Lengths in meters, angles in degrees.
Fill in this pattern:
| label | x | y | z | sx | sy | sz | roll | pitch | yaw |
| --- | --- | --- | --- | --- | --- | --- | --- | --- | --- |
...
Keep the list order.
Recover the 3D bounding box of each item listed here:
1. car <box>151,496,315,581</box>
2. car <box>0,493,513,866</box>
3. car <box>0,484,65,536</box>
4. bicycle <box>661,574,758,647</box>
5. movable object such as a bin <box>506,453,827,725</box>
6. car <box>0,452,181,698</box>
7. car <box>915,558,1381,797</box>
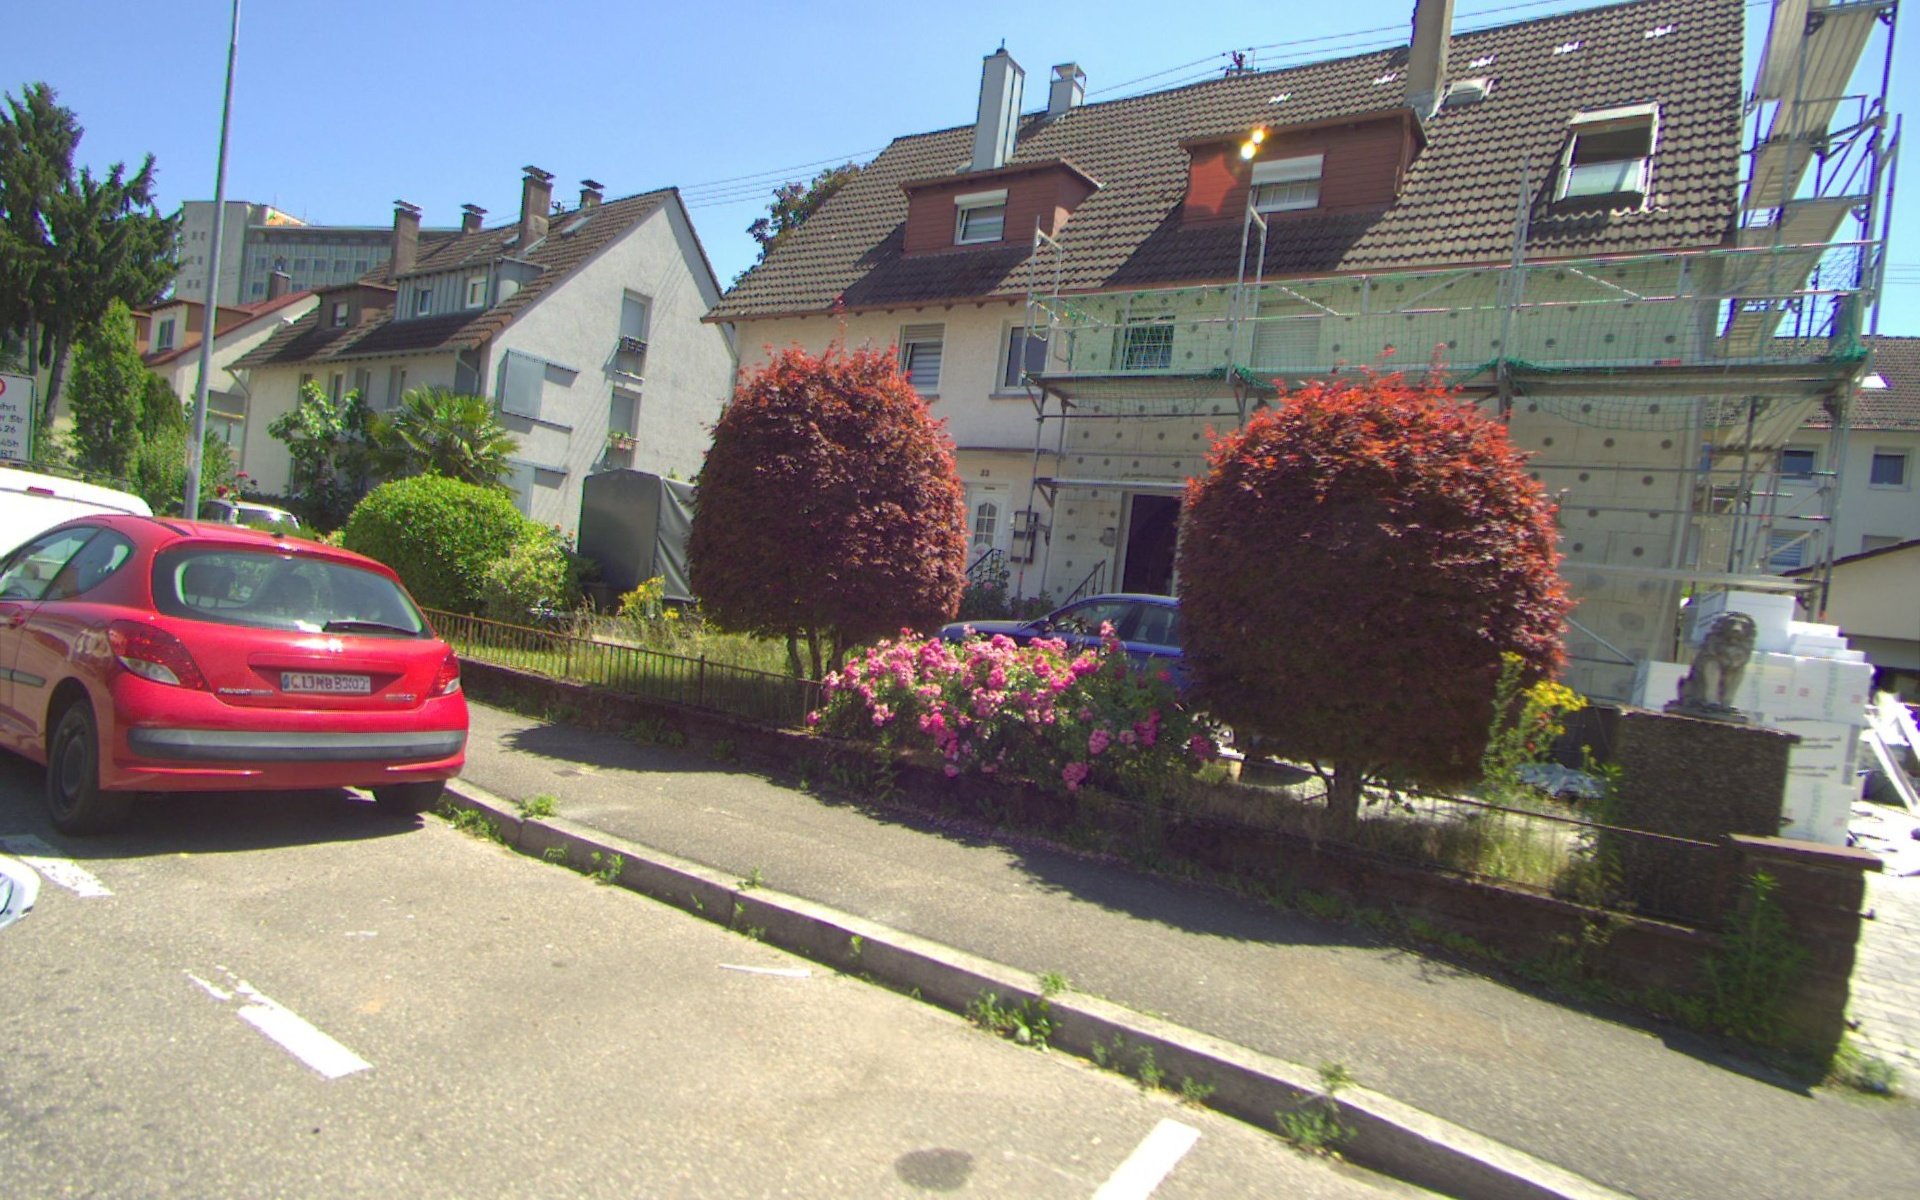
| label | x | y | z | sx | sy | sz | roll | pitch | yaw |
| --- | --- | --- | --- | --- | --- | --- | --- | --- | --- |
| car | -17.338 | -1.477 | 23.945 | 3.935 | 1.589 | 1.795 | 6 | 0 | 33 |
| car | -4.629 | 0.269 | 5.911 | 3.935 | 1.471 | 1.667 | 6 | -2 | 33 |
| car | -36.060 | -3.545 | 37.241 | 1.805 | 1.630 | 3.990 | 7 | -1 | 36 |
| bicycle | -4.446 | 0.172 | 17.778 | 1.916 | 1.122 | 0.454 | 5 | 1 | 35 |
| movable object such as a bin | -3.402 | -0.037 | 12.174 | 1.679 | 2.779 | 3.151 | 7 | -1 | 31 |
| car | -8.630 | -0.331 | 8.725 | 3.936 | 1.774 | 1.666 | 6 | -3 | 34 |
| car | 1.765 | 0.611 | 9.729 | 3.931 | 1.530 | 1.796 | 8 | 2 | 29 |
